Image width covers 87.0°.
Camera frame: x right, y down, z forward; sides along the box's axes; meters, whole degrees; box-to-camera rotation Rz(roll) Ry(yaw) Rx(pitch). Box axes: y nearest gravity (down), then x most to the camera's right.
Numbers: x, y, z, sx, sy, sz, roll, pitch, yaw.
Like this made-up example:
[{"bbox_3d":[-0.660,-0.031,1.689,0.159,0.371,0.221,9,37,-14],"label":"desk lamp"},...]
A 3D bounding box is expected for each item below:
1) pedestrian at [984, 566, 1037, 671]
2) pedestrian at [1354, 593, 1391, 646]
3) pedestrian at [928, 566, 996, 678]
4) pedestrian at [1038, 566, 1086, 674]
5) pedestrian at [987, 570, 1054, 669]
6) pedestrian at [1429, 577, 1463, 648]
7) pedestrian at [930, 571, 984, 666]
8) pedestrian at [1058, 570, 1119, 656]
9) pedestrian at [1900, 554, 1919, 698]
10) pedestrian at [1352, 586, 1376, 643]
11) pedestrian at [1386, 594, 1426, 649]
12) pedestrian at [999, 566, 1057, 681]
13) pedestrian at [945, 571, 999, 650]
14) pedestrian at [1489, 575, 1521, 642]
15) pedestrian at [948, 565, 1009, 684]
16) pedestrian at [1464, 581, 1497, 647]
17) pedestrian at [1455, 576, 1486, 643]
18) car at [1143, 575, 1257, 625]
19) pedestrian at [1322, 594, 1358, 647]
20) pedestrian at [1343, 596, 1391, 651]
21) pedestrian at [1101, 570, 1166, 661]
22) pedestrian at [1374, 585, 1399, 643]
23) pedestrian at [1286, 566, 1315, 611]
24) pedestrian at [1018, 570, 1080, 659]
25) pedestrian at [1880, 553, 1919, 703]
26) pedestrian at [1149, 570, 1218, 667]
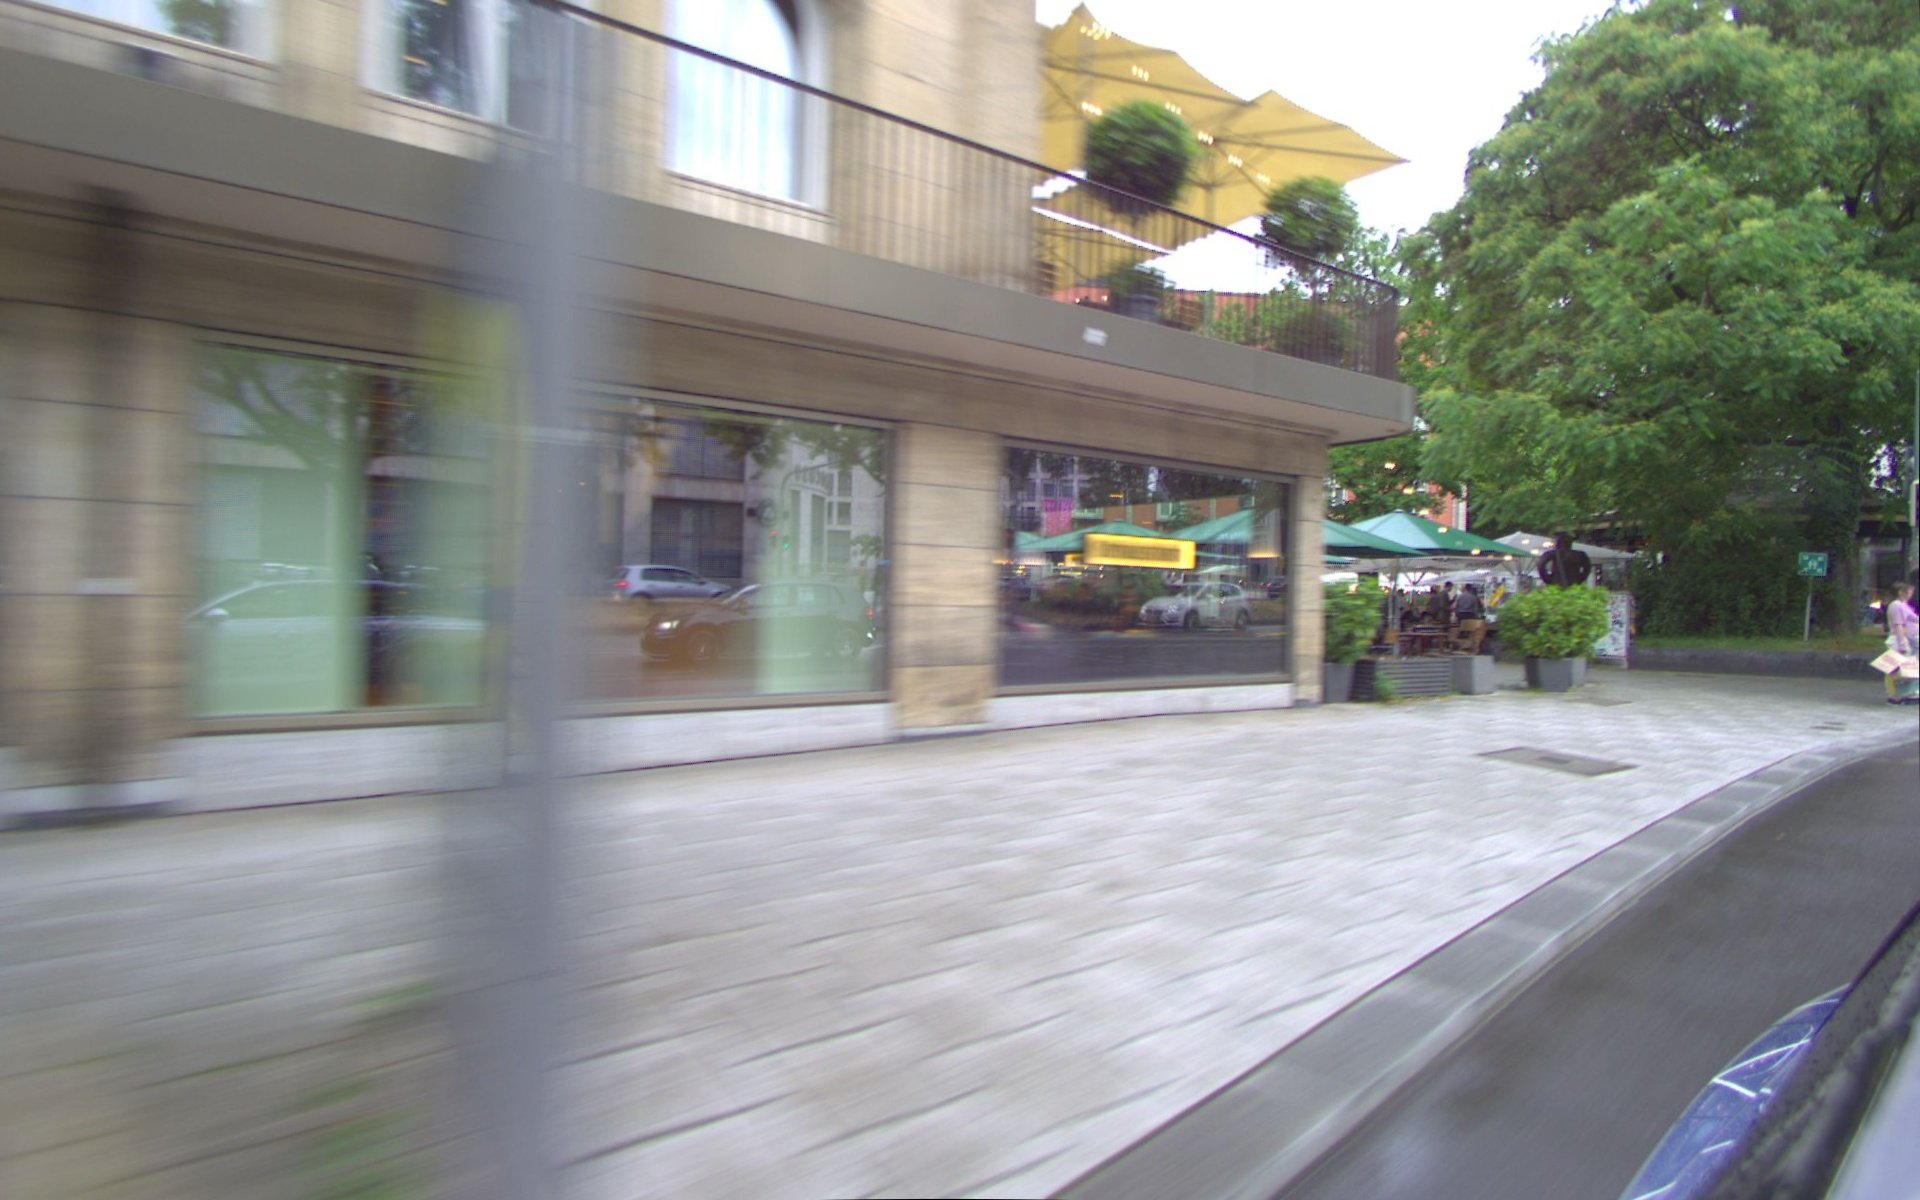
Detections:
[{"bbox_3d":[0.542,0.196,10.785,0.340,1.087,0.472,0,-1,42],"label":"pedestrian"},{"bbox_3d":[10.744,0.506,26.395,0.629,1.344,0.719,0,-1,-3],"label":"pedestrian"},{"bbox_3d":[0.025,0.212,10.129,0.432,1.087,0.531,0,-1,43],"label":"pedestrian"},{"bbox_3d":[1.033,0.196,10.339,0.400,1.069,0.545,1,-1,-3],"label":"pedestrian"},{"bbox_3d":[0.690,0.211,11.425,0.615,1.069,0.604,0,-1,20],"label":"pedestrian"},{"bbox_3d":[12.753,0.327,26.577,0.630,1.859,0.499,0,-1,3],"label":"pedestrian"},{"bbox_3d":[-0.030,0.206,11.673,0.472,1.069,0.561,0,-1,16],"label":"pedestrian"},{"bbox_3d":[1.634,0.165,12.893,0.534,1.069,0.556,1,-1,-32],"label":"pedestrian"},{"bbox_3d":[12.648,0.337,13.048,0.552,1.857,0.635,-1,1,-30],"label":"pedestrian"},{"bbox_3d":[12.160,0.431,30.466,0.537,1.702,0.499,0,-1,4],"label":"pedestrian"},{"bbox_3d":[11.058,0.536,25.113,0.629,1.344,0.719,0,-1,-3],"label":"pedestrian"},{"bbox_3d":[0.663,0.219,9.836,0.472,1.087,0.329,1,-1,-43],"label":"pedestrian"},{"bbox_3d":[0.165,0.140,13.999,0.534,1.069,0.556,1,-1,-32],"label":"pedestrian"},{"bbox_3d":[13.897,0.219,25.829,0.537,1.702,0.499,0,-1,4],"label":"pedestrian"},{"bbox_3d":[0.176,0.227,9.546,0.472,1.087,0.329,1,-1,-43],"label":"pedestrian"},{"bbox_3d":[13.652,0.370,26.561,0.537,1.702,0.605,0,-1,3],"label":"pedestrian"},{"bbox_3d":[13.032,0.236,25.847,0.537,1.702,0.499,0,-1,4],"label":"pedestrian"},{"bbox_3d":[7.835,-0.019,32.888,3.930,1.517,1.669,0,0,-41],"label":"car"},{"bbox_3d":[9.798,0.515,26.104,0.629,1.344,0.719,0,-1,-3],"label":"pedestrian"},{"bbox_3d":[10.086,0.572,25.104,0.928,1.344,0.641,0,-1,0],"label":"pedestrian"},{"bbox_3d":[2.099,0.185,12.265,0.534,1.069,0.556,1,-1,-32],"label":"pedestrian"},{"bbox_3d":[12.590,0.420,29.868,0.537,1.702,0.499,0,-1,4],"label":"pedestrian"},{"bbox_3d":[9.673,-0.333,28.758,0.565,1.256,0.634,0,-1,-3],"label":"pedestrian"},{"bbox_3d":[1.104,0.176,12.593,0.534,1.069,0.556,1,-1,-32],"label":"pedestrian"},{"bbox_3d":[12.086,0.345,12.749,0.586,1.857,0.623,0,1,29],"label":"pedestrian"},{"bbox_3d":[2.541,0.201,11.517,0.534,1.069,0.556,1,-1,-32],"label":"pedestrian"}]
